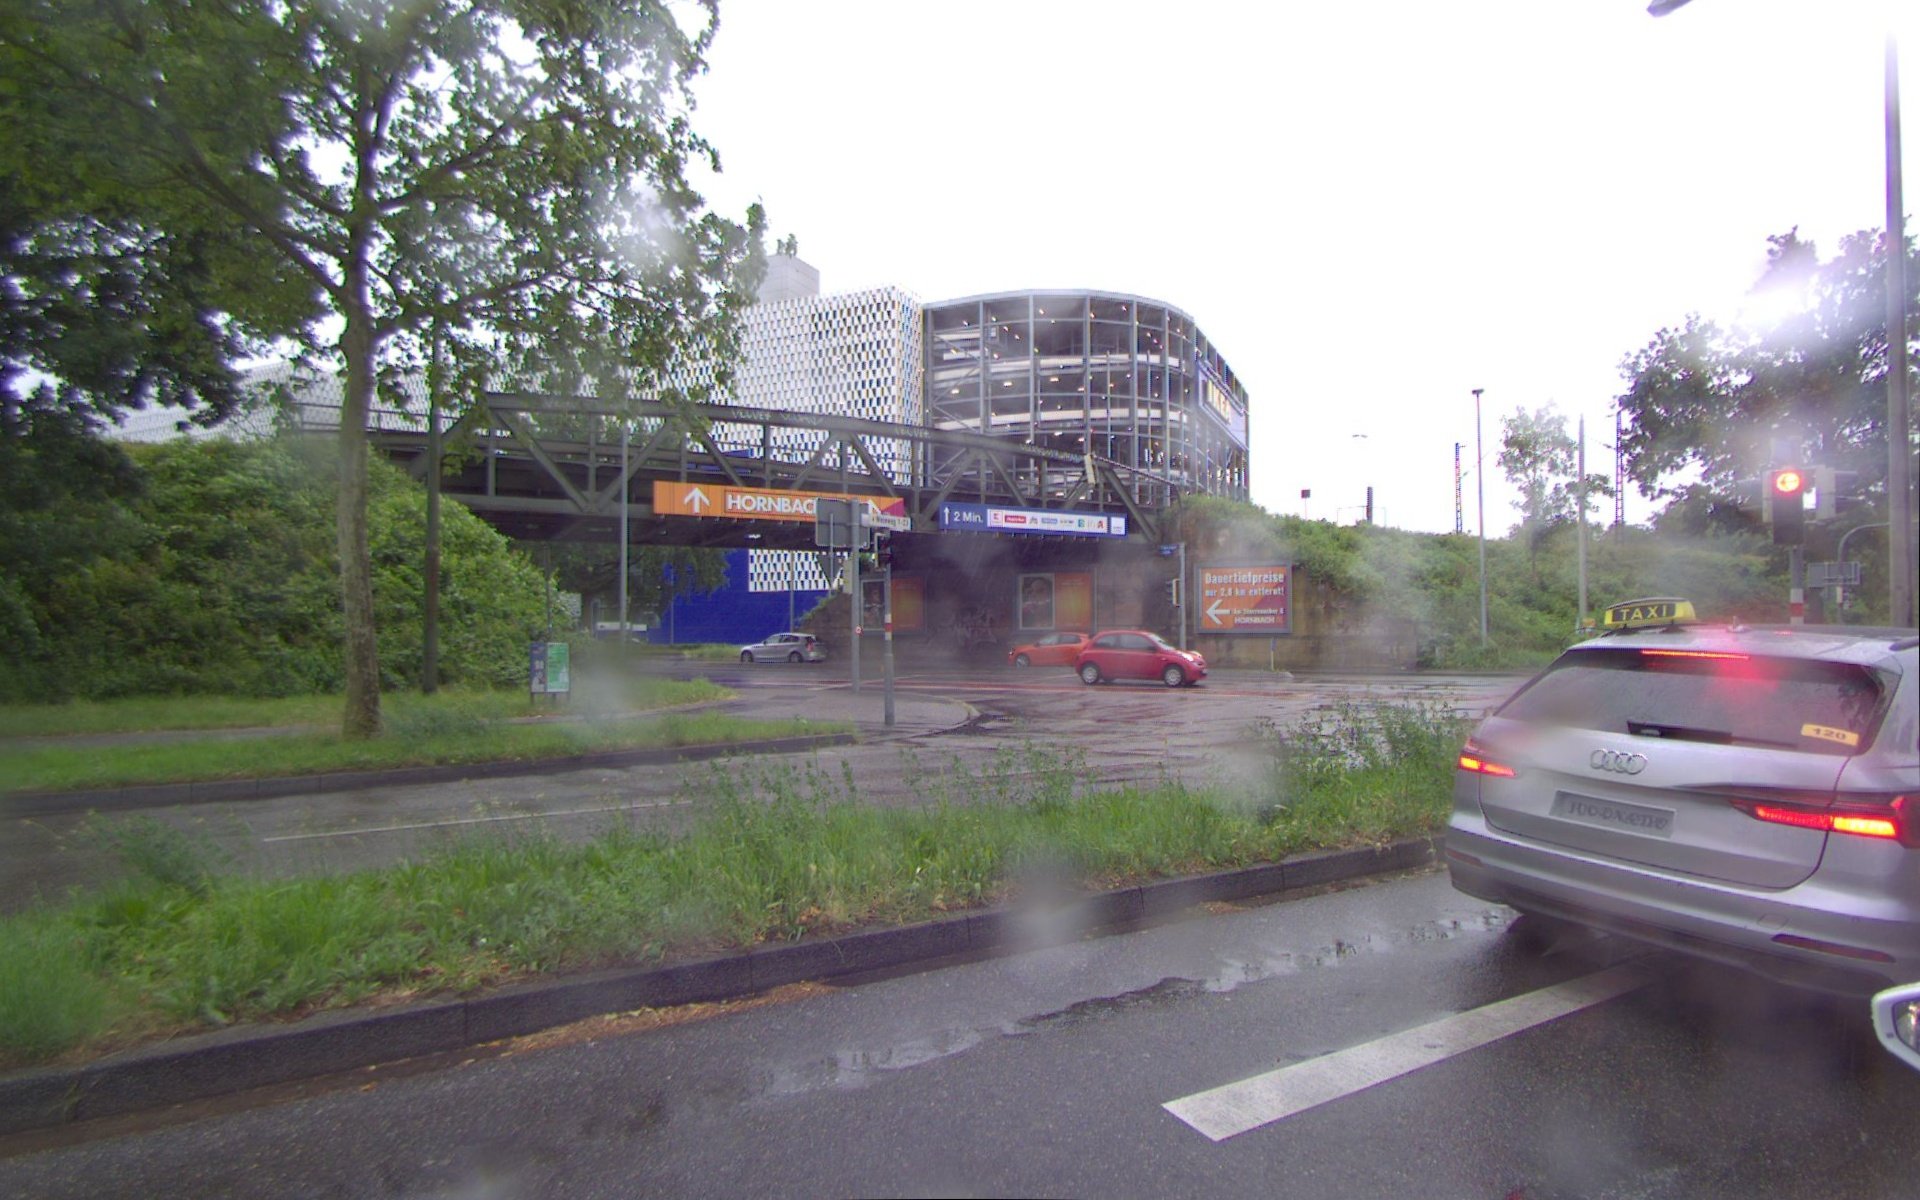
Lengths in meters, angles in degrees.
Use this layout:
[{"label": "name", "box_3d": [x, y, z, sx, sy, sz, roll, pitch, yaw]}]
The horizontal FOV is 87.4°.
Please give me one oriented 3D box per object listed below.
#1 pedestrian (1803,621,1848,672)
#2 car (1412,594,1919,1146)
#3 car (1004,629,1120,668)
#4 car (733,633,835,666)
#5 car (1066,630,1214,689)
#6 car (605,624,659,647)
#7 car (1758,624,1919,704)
[{"label": "pedestrian", "box_3d": [32.386, 1.734, 37.590, 1.122, 1.871, 1.092, 2, -2, -41]}, {"label": "car", "box_3d": [4.441, 0.815, 4.821, 4.766, 1.595, 1.760, 1, 0, -31]}, {"label": "car", "box_3d": [3.940, 1.857, 38.762, 4.131, 1.392, 1.746, 0, -2, 24]}, {"label": "car", "box_3d": [-7.779, 2.156, 44.399, 4.130, 1.392, 1.746, 0, -2, 22]}, {"label": "car", "box_3d": [5.027, 1.618, 28.115, 3.747, 1.510, 1.676, 0, -1, 28]}, {"label": "car", "box_3d": [-26.102, 2.841, 80.018, 3.924, 1.776, 1.790, -1, -2, 25]}, {"label": "car", "box_3d": [18.893, 1.244, 19.752, 4.744, 1.510, 1.924, -1, -2, 31]}]
